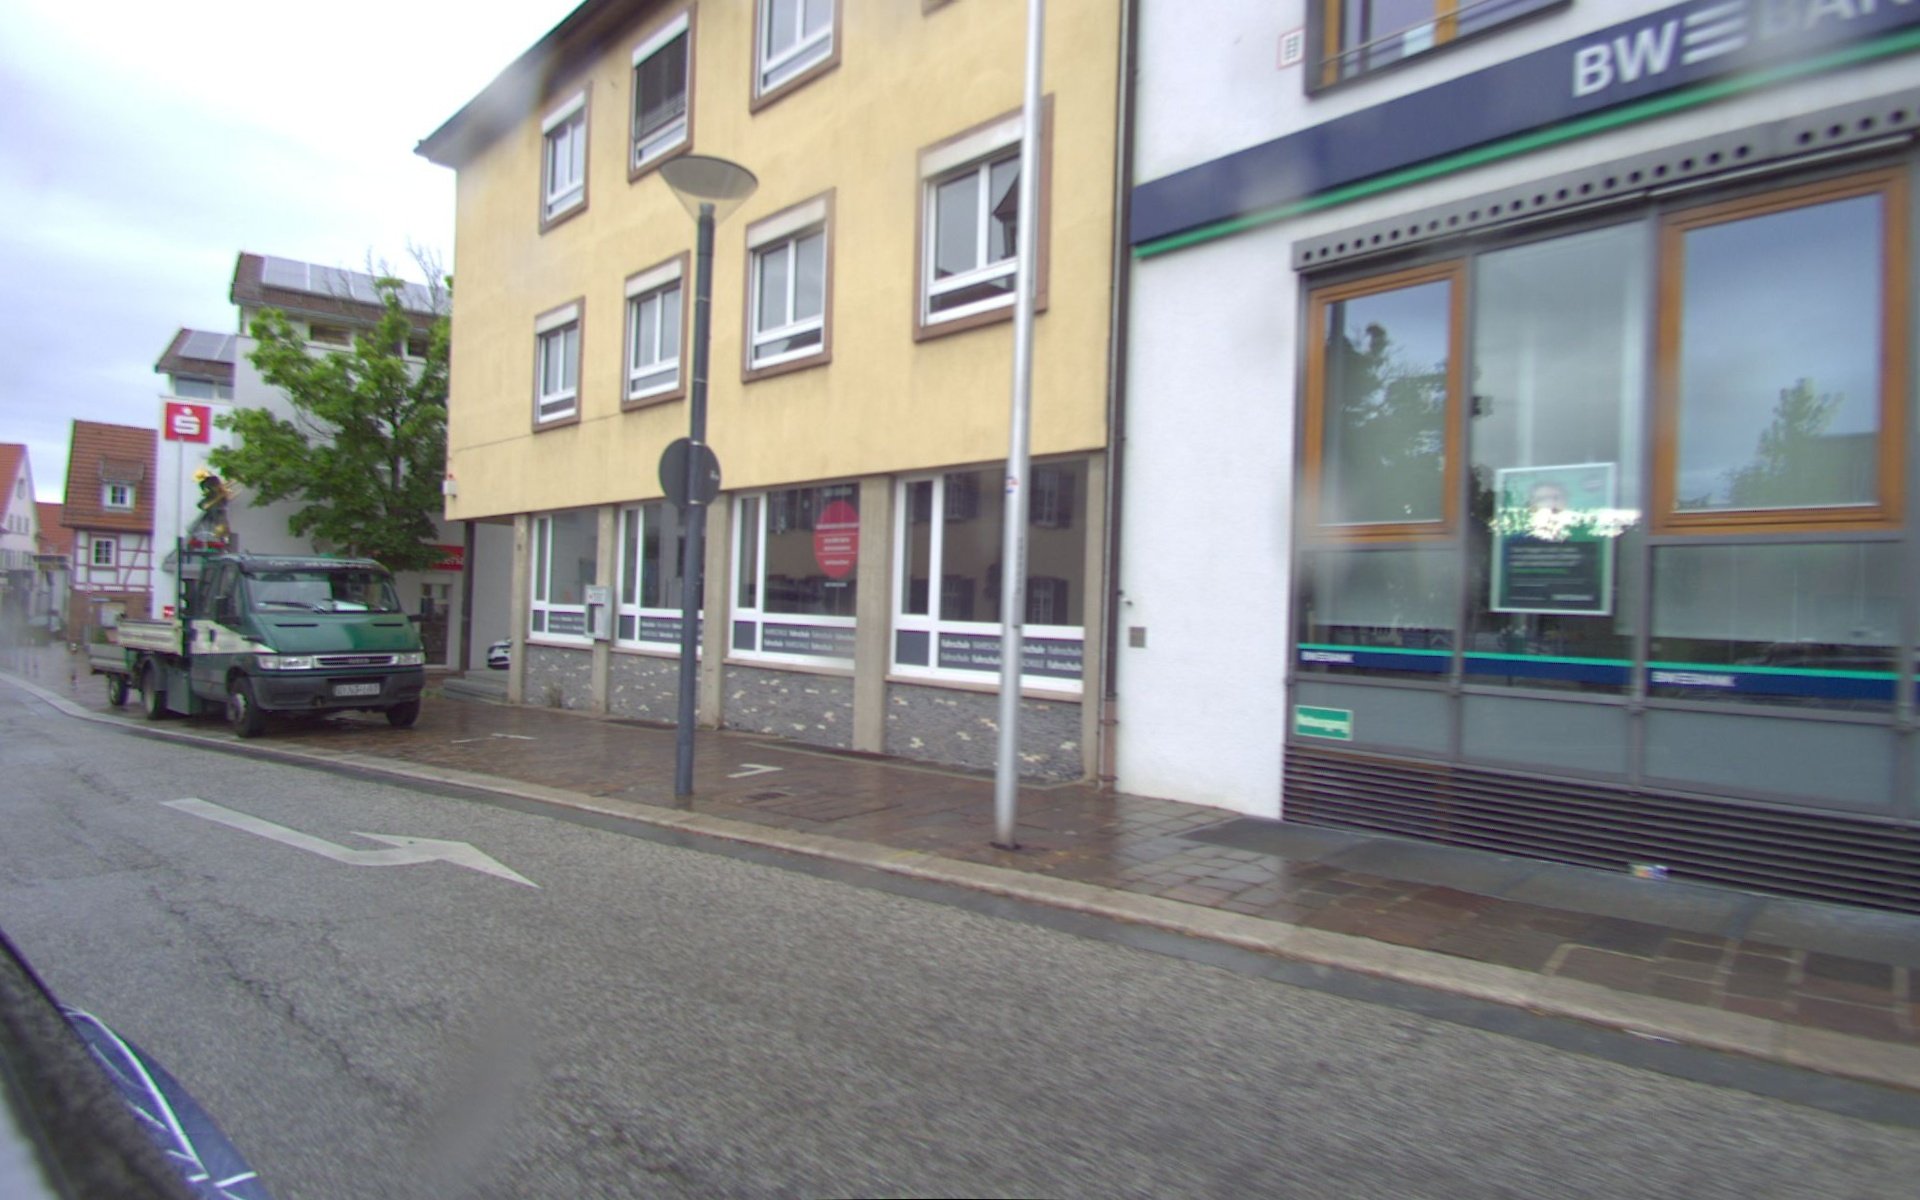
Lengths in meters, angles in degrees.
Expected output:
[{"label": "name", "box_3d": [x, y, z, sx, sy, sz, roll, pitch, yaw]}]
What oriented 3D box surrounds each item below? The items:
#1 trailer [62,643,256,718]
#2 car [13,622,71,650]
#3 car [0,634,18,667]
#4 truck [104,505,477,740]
[{"label": "trailer", "box_3d": [-13.436, 1.318, 16.955, 3.014, 1.133, 1.835, -3, -4, 37]}, {"label": "car", "box_3d": [-52.325, 2.026, 57.762, 1.778, 1.453, 4.011, 1, -1, -33]}, {"label": "car", "box_3d": [-45.321, 2.336, 47.326, 1.781, 1.453, 4.004, 1, -1, -43]}, {"label": "truck", "box_3d": [-9.577, 0.423, 14.207, 6.472, 2.615, 2.377, -3, -4, 38]}]
